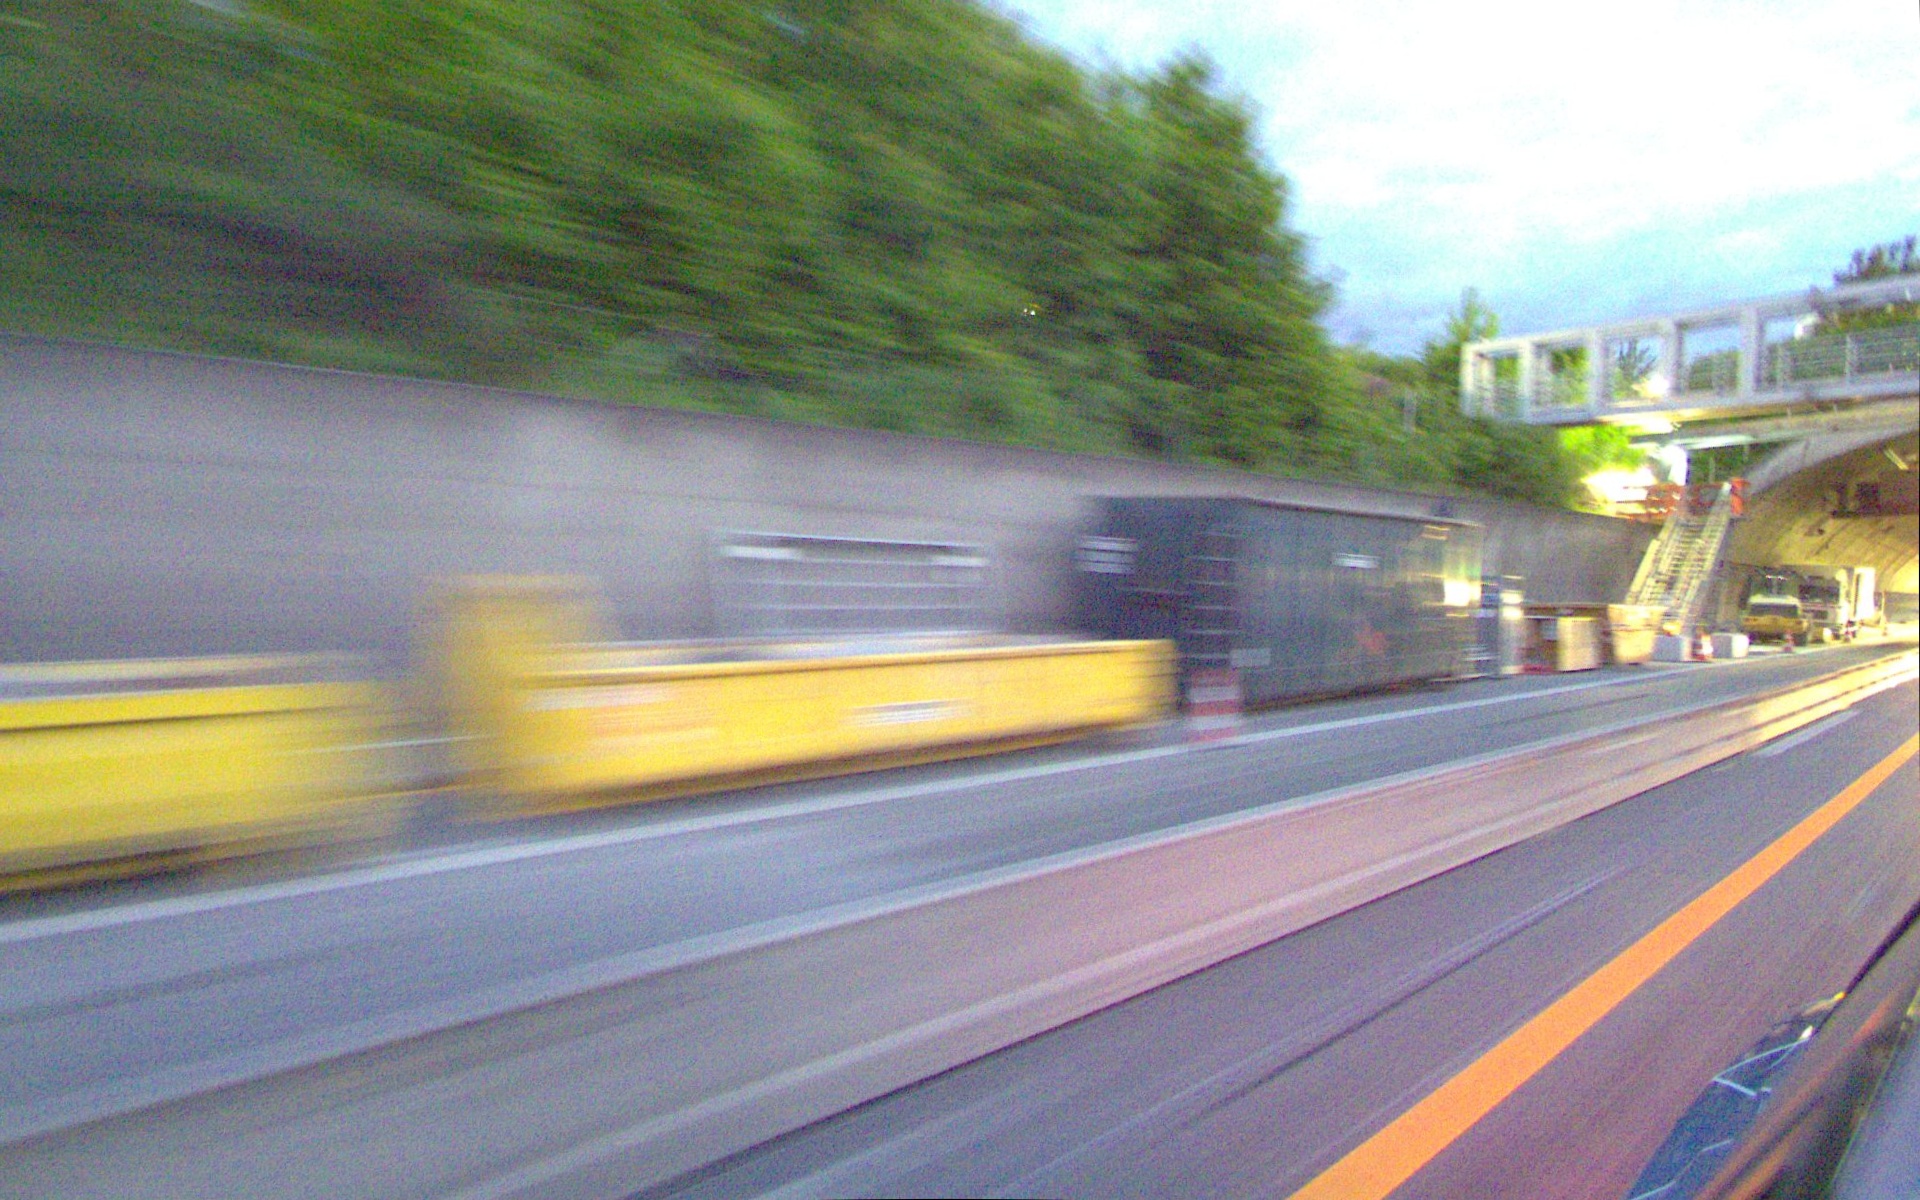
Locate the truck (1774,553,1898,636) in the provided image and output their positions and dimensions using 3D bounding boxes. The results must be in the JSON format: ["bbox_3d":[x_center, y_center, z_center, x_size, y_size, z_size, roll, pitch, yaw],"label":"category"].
[{"bbox_3d":[38.407,-0.226,44.262,8.204,3.327,2.823,0,0,-40],"label":"truck"}]

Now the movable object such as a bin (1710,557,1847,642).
[{"bbox_3d":[30.723,-0.033,37.879,7.074,2.863,2.973,0,0,-42],"label":"movable object such as a bin"}]
